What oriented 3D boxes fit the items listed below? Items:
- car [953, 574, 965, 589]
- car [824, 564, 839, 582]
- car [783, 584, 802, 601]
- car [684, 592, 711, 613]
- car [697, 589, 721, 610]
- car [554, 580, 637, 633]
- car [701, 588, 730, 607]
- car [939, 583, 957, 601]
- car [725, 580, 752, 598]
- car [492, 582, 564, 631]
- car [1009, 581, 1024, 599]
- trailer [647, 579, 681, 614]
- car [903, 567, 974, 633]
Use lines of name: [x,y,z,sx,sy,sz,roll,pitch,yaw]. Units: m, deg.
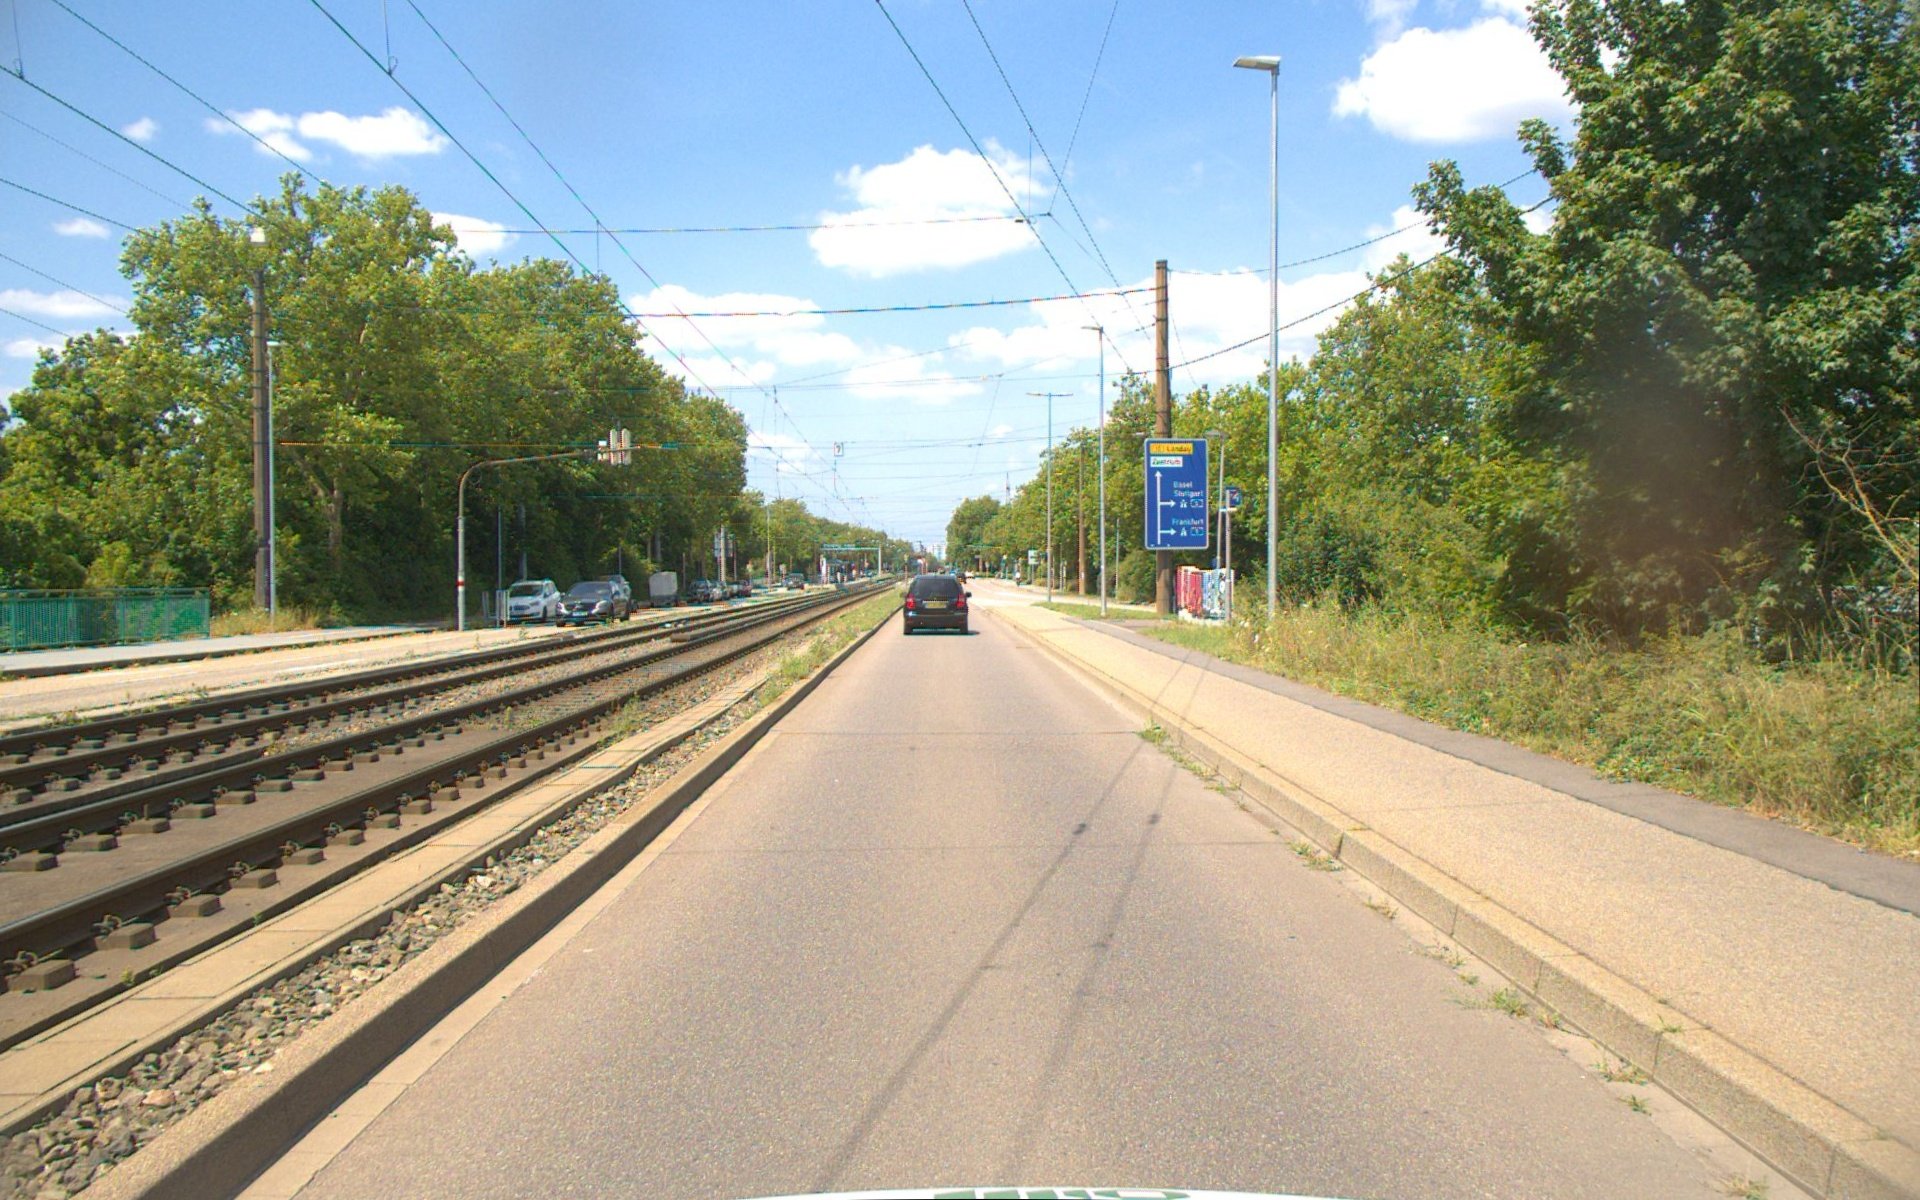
car: [-0.159,-2.677,241.870,1.750,2.048,4.000,1,2,-1]
car: [-15.646,-3.277,201.619,1.553,2.048,4.109,1,2,-2]
car: [-20.080,-0.921,198.197,1.953,2.049,3.999,-1,0,-1]
car: [-18.485,0.150,116.571,1.405,1.476,3.919,0,0,-3]
car: [-18.595,-0.048,122.695,1.405,1.476,3.739,0,0,-3]
car: [-12.645,0.206,57.737,1.837,1.750,5.329,0,0,-1]
car: [-18.923,-0.188,128.211,1.833,1.425,4.416,0,1,-3]
car: [-1.292,-0.867,178.920,1.846,1.668,4.000,3,2,0]
car: [-19.592,-0.994,146.687,1.953,1.601,3.999,0,1,-2]
car: [-17.020,0.225,65.418,1.685,1.658,4.615,-3,2,-2]
car: [6.733,-1.179,198.974,1.580,2.048,3.439,1,2,-2]
trailer: [-18.148,-0.250,101.513,1.578,2.049,3.913,1,1,-4]
car: [-0.559,-0.053,45.055,1.815,1.597,4.389,1,2,0]
